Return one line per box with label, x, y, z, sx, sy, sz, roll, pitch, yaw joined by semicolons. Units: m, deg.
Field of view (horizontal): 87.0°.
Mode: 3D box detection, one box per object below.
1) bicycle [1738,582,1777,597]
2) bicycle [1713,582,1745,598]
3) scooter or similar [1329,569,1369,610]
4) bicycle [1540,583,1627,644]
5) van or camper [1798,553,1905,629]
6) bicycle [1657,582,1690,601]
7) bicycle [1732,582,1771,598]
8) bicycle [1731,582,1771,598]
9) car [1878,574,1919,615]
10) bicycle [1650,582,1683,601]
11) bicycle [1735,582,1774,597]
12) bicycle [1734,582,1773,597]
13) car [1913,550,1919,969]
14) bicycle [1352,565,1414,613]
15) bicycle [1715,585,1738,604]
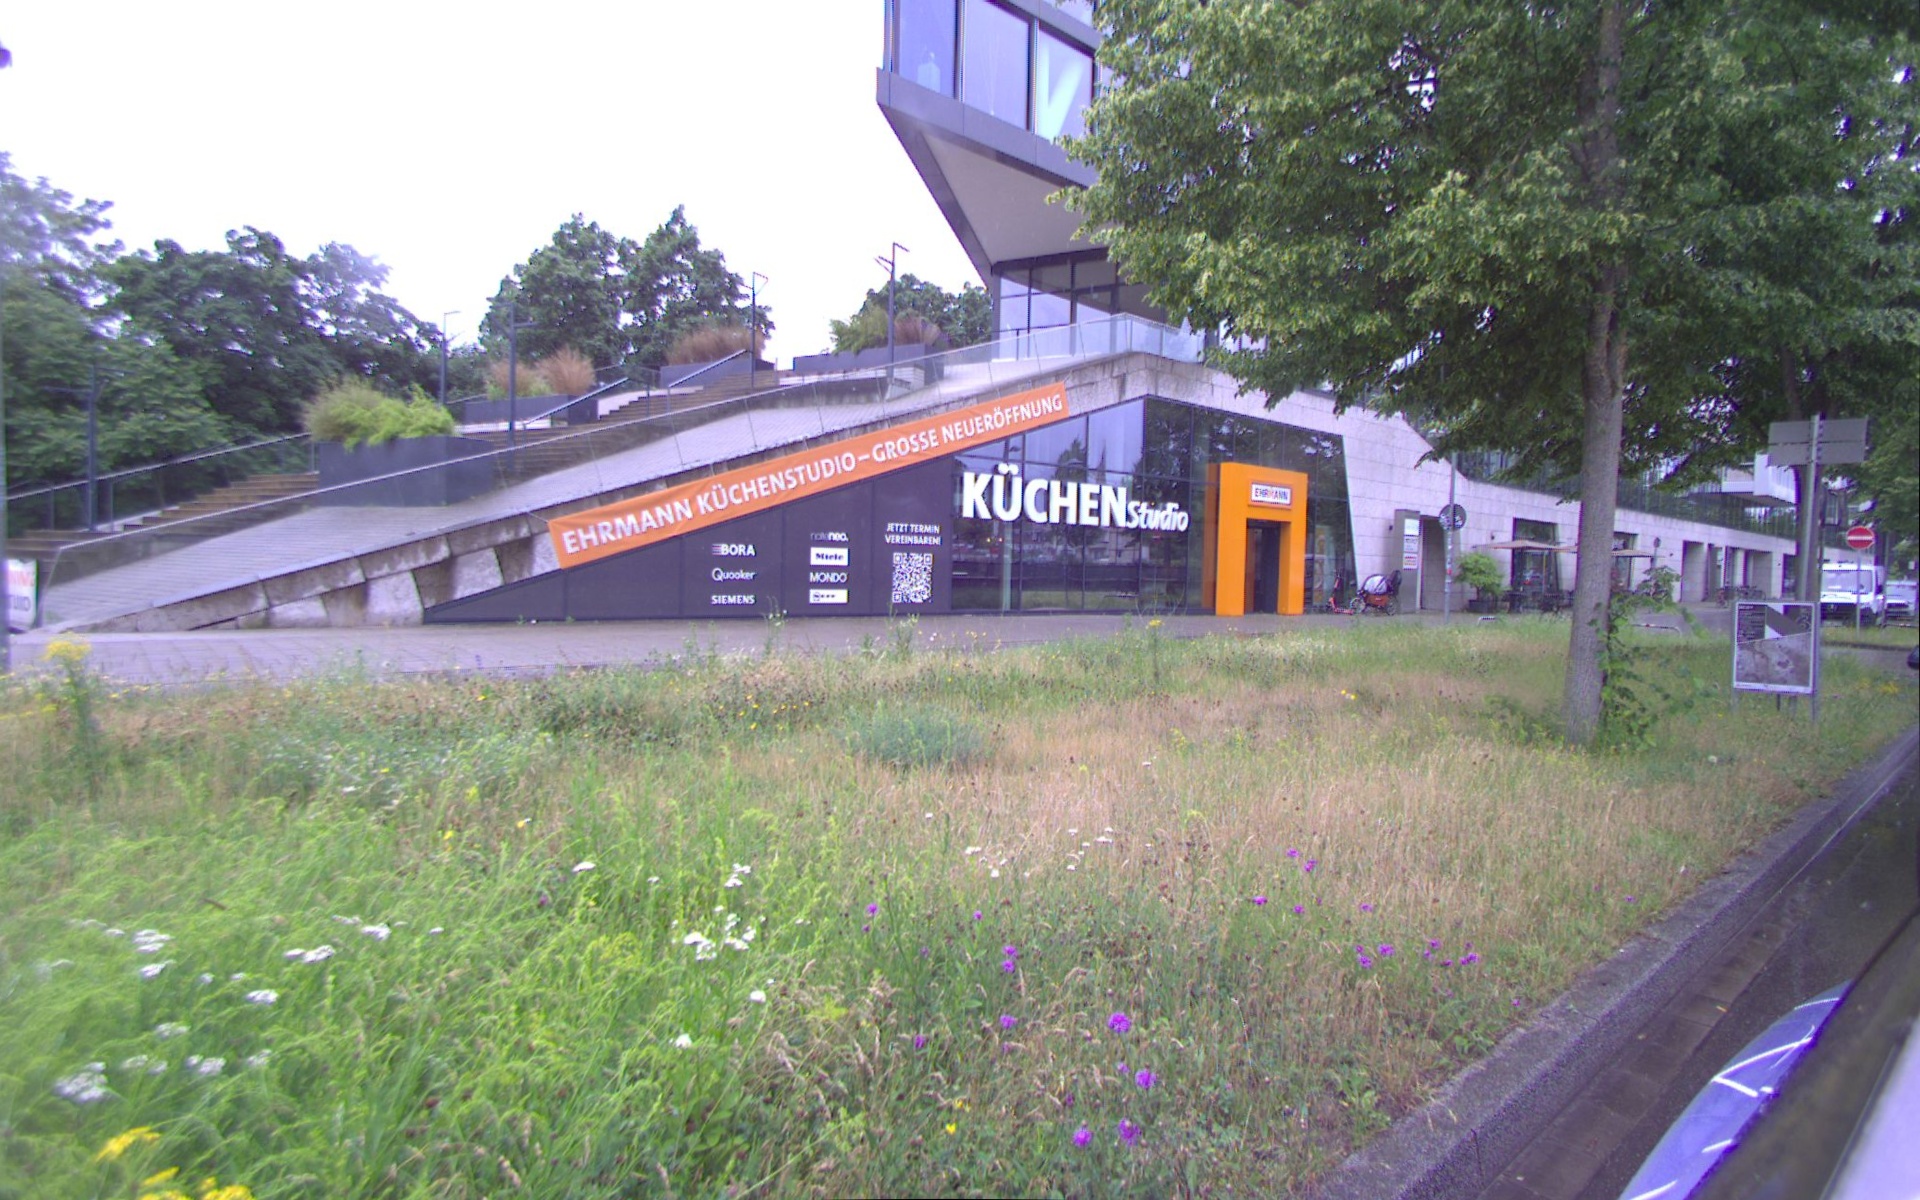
bicycle;54.790;-0.736;69.545;0.389;0.957;2.025;-1;4;-45
bicycle;49.498;-0.655;65.136;0.339;0.957;1.665;0;3;-22
scooter or similar;11.792;-0.324;30.686;1.214;1.243;0.343;-1;0;-22
bicycle;14.585;0.283;23.741;0.521;1.363;1.852;2;1;-15
van or camper;29.618;-0.357;33.557;5.367;2.320;2.028;-1;2;-42
bicycle;37.243;-0.453;52.879;0.388;0.958;2.028;-1;1;4
bicycle;53.093;-0.699;67.887;0.389;0.957;2.025;-1;4;-45
bicycle;52.625;-0.688;67.363;0.389;0.957;2.025;-1;4;-45
car;43.300;-0.276;46.061;4.766;1.781;1.744;-1;2;-42
bicycle;36.618;-0.439;52.495;0.388;0.958;2.028;-1;1;4
bicycle;53.923;-0.725;68.673;0.389;0.957;2.025;-1;4;-45
bicycle;53.508;-0.705;68.283;0.389;0.957;2.025;-1;4;-45
car;5.789;0.584;4.535;3.930;1.632;1.814;-1;1;-41
bicycle;13.261;-0.353;31.676;2.382;1.419;0.734;0;3;-41
bicycle;39.686;-0.301;52.395;1.823;0.957;0.403;-1;2;-34
